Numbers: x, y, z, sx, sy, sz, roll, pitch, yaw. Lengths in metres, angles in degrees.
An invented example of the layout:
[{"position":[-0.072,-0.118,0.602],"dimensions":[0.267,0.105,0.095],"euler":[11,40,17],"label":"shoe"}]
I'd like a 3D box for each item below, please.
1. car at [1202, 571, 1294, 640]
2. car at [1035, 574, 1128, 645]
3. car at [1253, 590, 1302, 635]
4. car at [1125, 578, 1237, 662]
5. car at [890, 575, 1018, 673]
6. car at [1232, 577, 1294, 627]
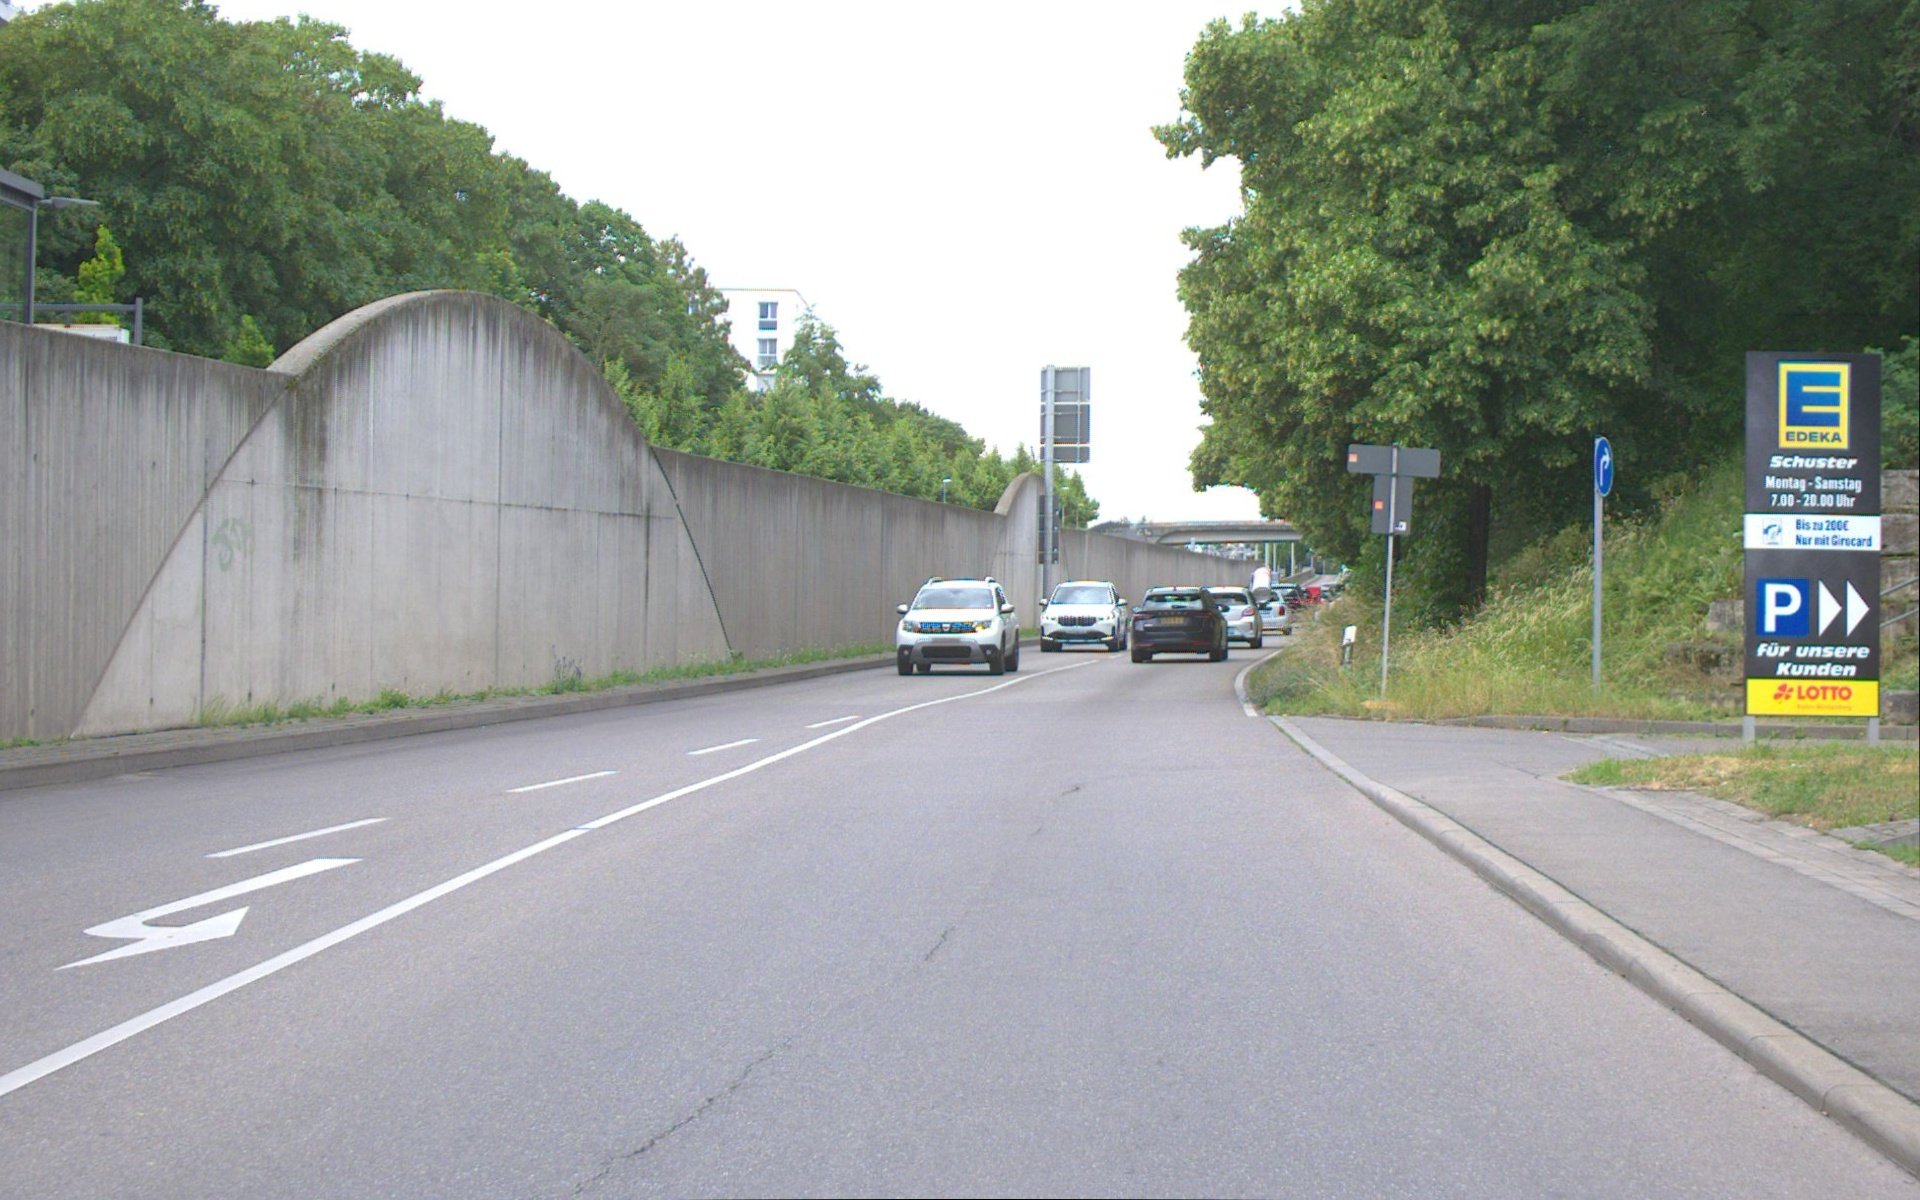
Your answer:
[{"position":[7.064,0.147,84.067],"dimensions":[1.755,1.518,4.034],"euler":[3,-1,11],"label":"car"},{"position":[2.902,0.204,81.346],"dimensions":[1.890,1.626,4.425],"euler":[0,0,6],"label":"car"},{"position":[12.123,0.483,131.000],"dimensions":[1.754,1.528,4.253],"euler":[3,-1,6],"label":"car"},{"position":[4.407,0.418,68.084],"dimensions":[1.755,1.518,4.034],"euler":[3,-1,9],"label":"car"},{"position":[-0.073,0.392,59.296],"dimensions":[1.862,1.626,4.207],"euler":[0,0,5],"label":"car"},{"position":[9.667,0.070,109.633],"dimensions":[1.867,1.485,4.256],"euler":[3,0,5],"label":"car"}]
